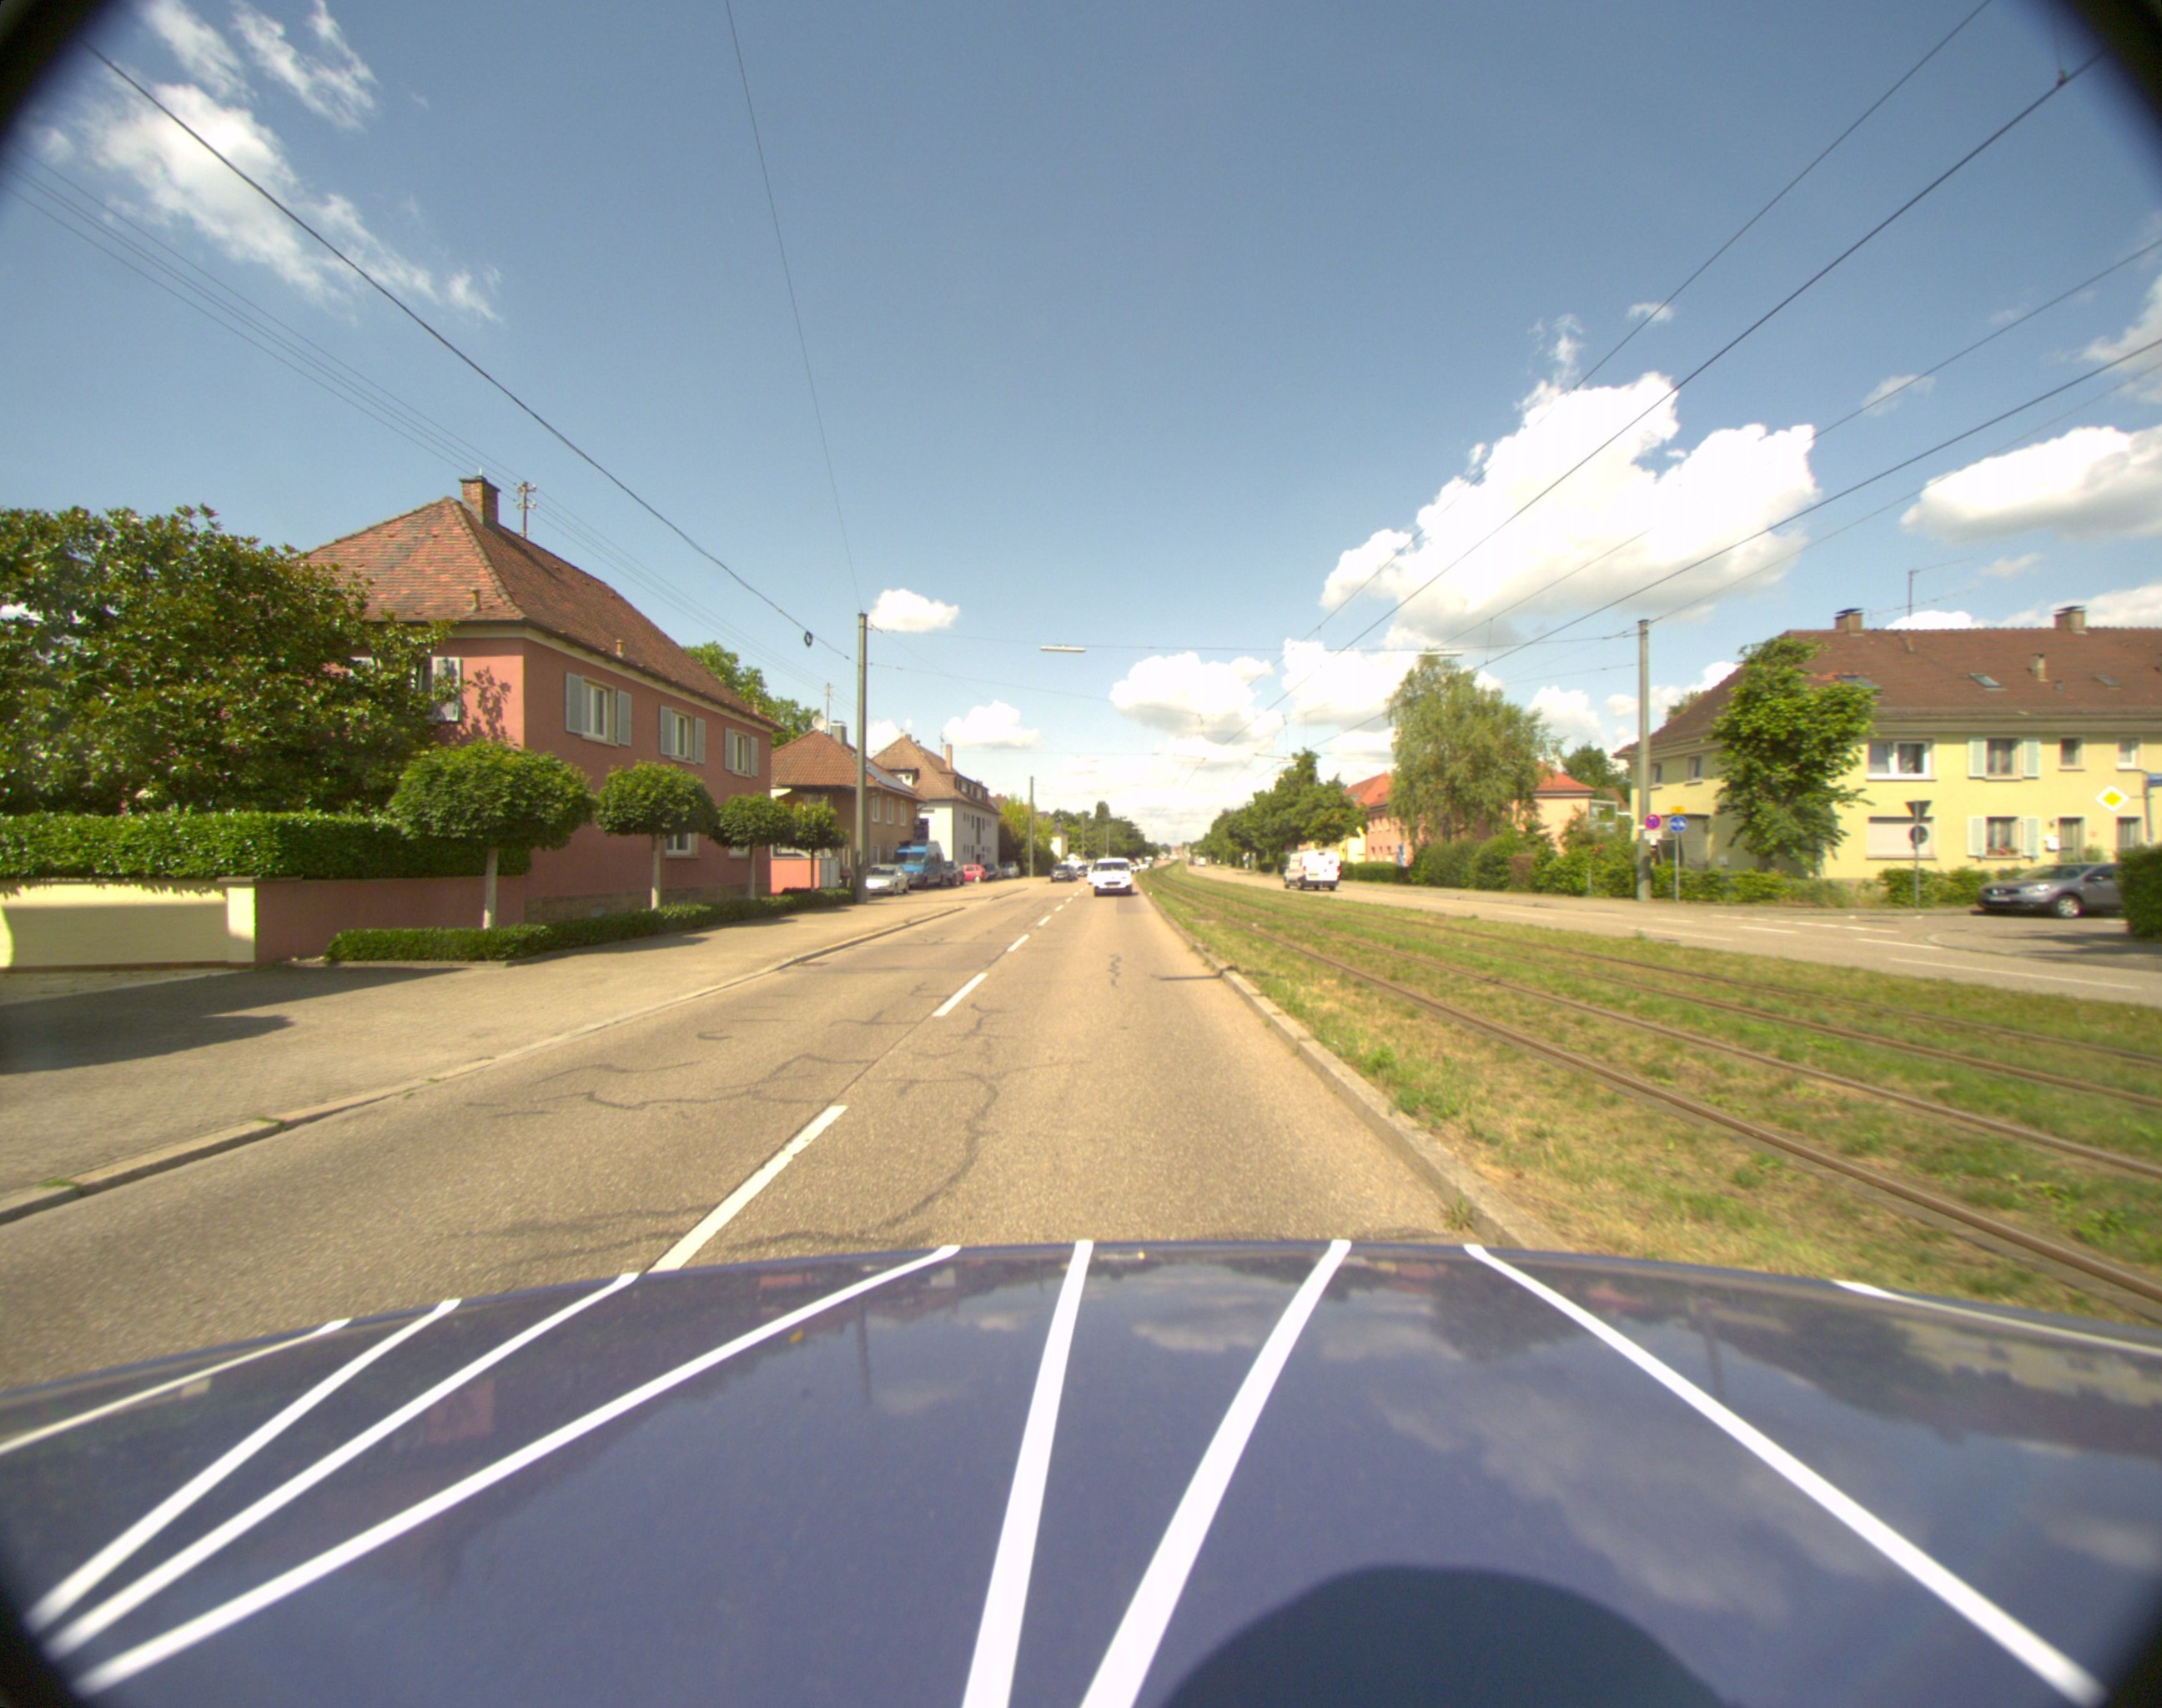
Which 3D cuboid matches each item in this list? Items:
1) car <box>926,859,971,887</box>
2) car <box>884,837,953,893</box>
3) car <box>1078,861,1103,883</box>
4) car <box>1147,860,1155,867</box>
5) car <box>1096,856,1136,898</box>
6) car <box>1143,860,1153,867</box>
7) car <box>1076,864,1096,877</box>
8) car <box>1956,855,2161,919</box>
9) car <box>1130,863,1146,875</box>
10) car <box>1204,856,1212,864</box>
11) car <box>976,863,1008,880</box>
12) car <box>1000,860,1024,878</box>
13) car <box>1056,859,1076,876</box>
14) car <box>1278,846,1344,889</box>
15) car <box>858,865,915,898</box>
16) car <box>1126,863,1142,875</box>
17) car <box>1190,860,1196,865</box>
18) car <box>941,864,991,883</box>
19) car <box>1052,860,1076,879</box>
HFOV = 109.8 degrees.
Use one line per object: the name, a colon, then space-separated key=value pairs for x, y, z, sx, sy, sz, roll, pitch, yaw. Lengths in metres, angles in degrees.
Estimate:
car: x=-8.569 y=1.203 z=49.520 sx=1.840 sy=1.701 sz=4.865 roll=2 pitch=-1 yaw=3
car: x=-9.136 y=0.588 z=43.290 sx=2.156 sy=2.913 sz=6.246 roll=-1 pitch=0 yaw=4
car: x=0.760 y=1.297 z=57.111 sx=1.777 sy=1.540 sz=4.001 roll=-2 pitch=0 yaw=2
car: x=16.320 y=2.144 z=176.839 sx=1.998 sy=1.477 sz=4.002 roll=-1 pitch=0 yaw=6
car: x=1.662 y=1.048 z=36.468 sx=1.777 sy=1.850 sz=4.376 roll=-1 pitch=0 yaw=2
car: x=13.986 y=1.988 z=158.684 sx=1.998 sy=1.477 sz=4.002 roll=-1 pitch=0 yaw=6
car: x=0.624 y=1.915 z=90.897 sx=1.904 sy=1.435 sz=5.060 roll=-1 pitch=-1 yaw=5
car: x=28.108 y=0.934 z=21.844 sx=3.750 sy=1.676 sz=1.824 roll=1 pitch=-1 yaw=1
car: x=8.119 y=2.102 z=108.368 sx=1.997 sy=1.575 sz=4.002 roll=-1 pitch=0 yaw=7
car: x=39.254 y=1.918 z=235.467 sx=2.036 sy=2.422 sz=5.781 roll=2 pitch=0 yaw=7
car: x=-7.622 y=1.487 z=65.534 sx=1.802 sy=1.415 sz=4.859 roll=1 pitch=0 yaw=4
car: x=-6.833 y=1.494 z=75.472 sx=1.761 sy=1.637 sz=4.769 roll=1 pitch=0 yaw=1
car: x=-1.408 y=1.266 z=72.185 sx=1.819 sy=1.445 sz=4.643 roll=-1 pitch=0 yaw=0
car: x=13.471 y=0.753 z=44.907 sx=2.202 sy=2.358 sz=5.332 roll=1 pitch=0 yaw=-1
car: x=-9.253 y=1.250 z=36.388 sx=1.653 sy=1.401 sz=4.350 roll=1 pitch=0 yaw=-1
car: x=6.818 y=1.905 z=97.517 sx=1.998 sy=1.477 sz=4.002 roll=-1 pitch=0 yaw=6
car: x=37.662 y=2.934 z=255.466 sx=1.689 sy=1.736 sz=4.230 roll=0 pitch=0 yaw=7
car: x=-9.008 y=1.523 z=59.825 sx=3.657 sy=1.372 sz=1.727 roll=0 pitch=1 yaw=2
car: x=-1.447 y=1.327 z=65.361 sx=1.811 sy=1.550 sz=4.254 roll=-1 pitch=0 yaw=2
